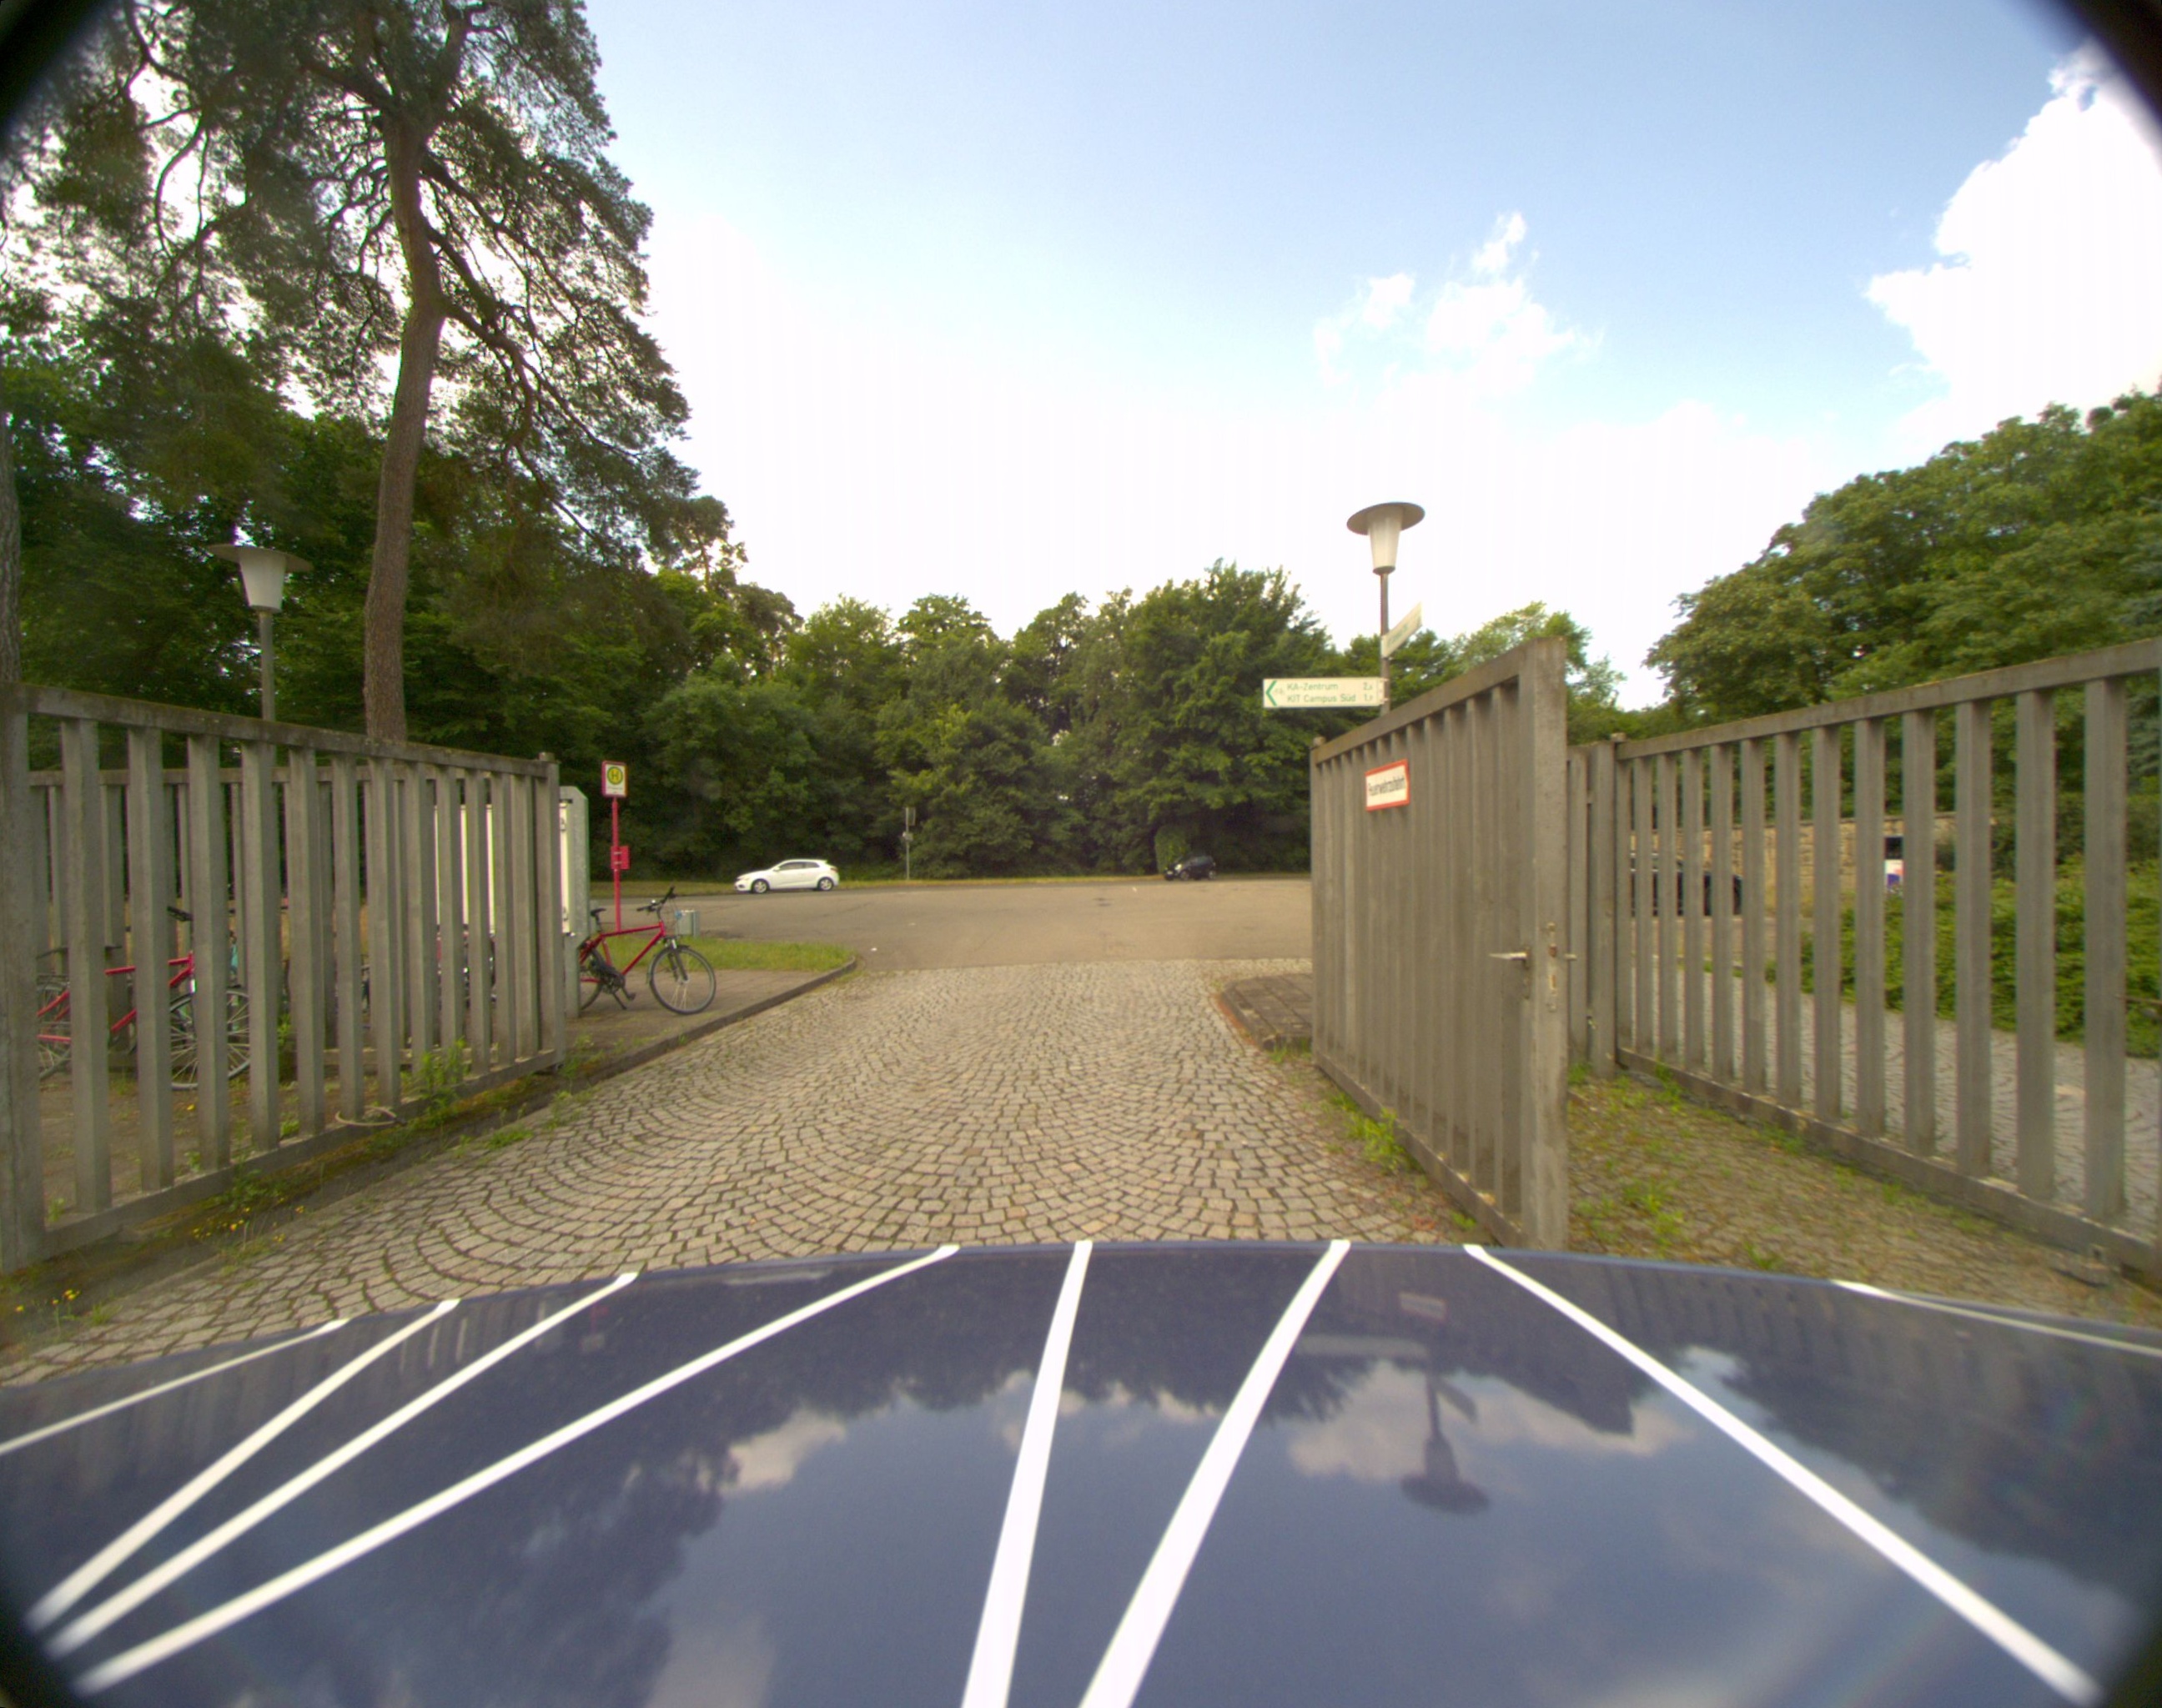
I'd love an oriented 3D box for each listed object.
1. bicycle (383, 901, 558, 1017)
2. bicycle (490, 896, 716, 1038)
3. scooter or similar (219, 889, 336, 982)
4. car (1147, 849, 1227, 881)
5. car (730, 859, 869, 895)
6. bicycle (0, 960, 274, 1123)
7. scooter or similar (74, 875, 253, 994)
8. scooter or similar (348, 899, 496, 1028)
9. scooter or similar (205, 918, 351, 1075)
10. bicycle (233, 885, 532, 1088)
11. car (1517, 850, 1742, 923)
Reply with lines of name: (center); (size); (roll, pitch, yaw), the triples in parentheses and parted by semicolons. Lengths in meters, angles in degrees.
bicycle: (-6.699, 1.121, 8.355); (1.608, 1.155, 0.623); (0, -1, 13)
bicycle: (-4.578, 1.063, 7.371); (1.739, 1.270, 0.672); (0, 1, -2)
scooter or similar: (-11.146, 1.123, 10.555); (1.090, 1.221, 0.438); (1, 2, -3)
car: (6.017, 0.594, 43.146); (4.005, 1.674, 1.996); (-1, 0, -25)
car: (-12.249, 0.962, 33.187); (5.421, 1.370, 1.995); (-1, 0, -30)
bicycle: (-6.546, 1.217, 5.046); (1.950, 0.962, 0.457); (-1, 1, 3)
scooter or similar: (-11.337, 1.003, 9.424); (1.251, 1.405, 0.531); (0, -13, 3)
scooter or similar: (-6.734, 1.100, 7.774); (1.282, 1.238, 0.386); (0, 1, 8)
scooter or similar: (-7.009, 1.186, 6.691); (0.439, 1.143, 1.249); (-1, 0, -26)
bicycle: (-5.278, 0.961, 5.776); (1.904, 1.409, 0.516); (0, 2, 7)
car: (13.125, 0.748, 18.397); (3.996, 1.537, 1.900); (-2, 0, 4)
